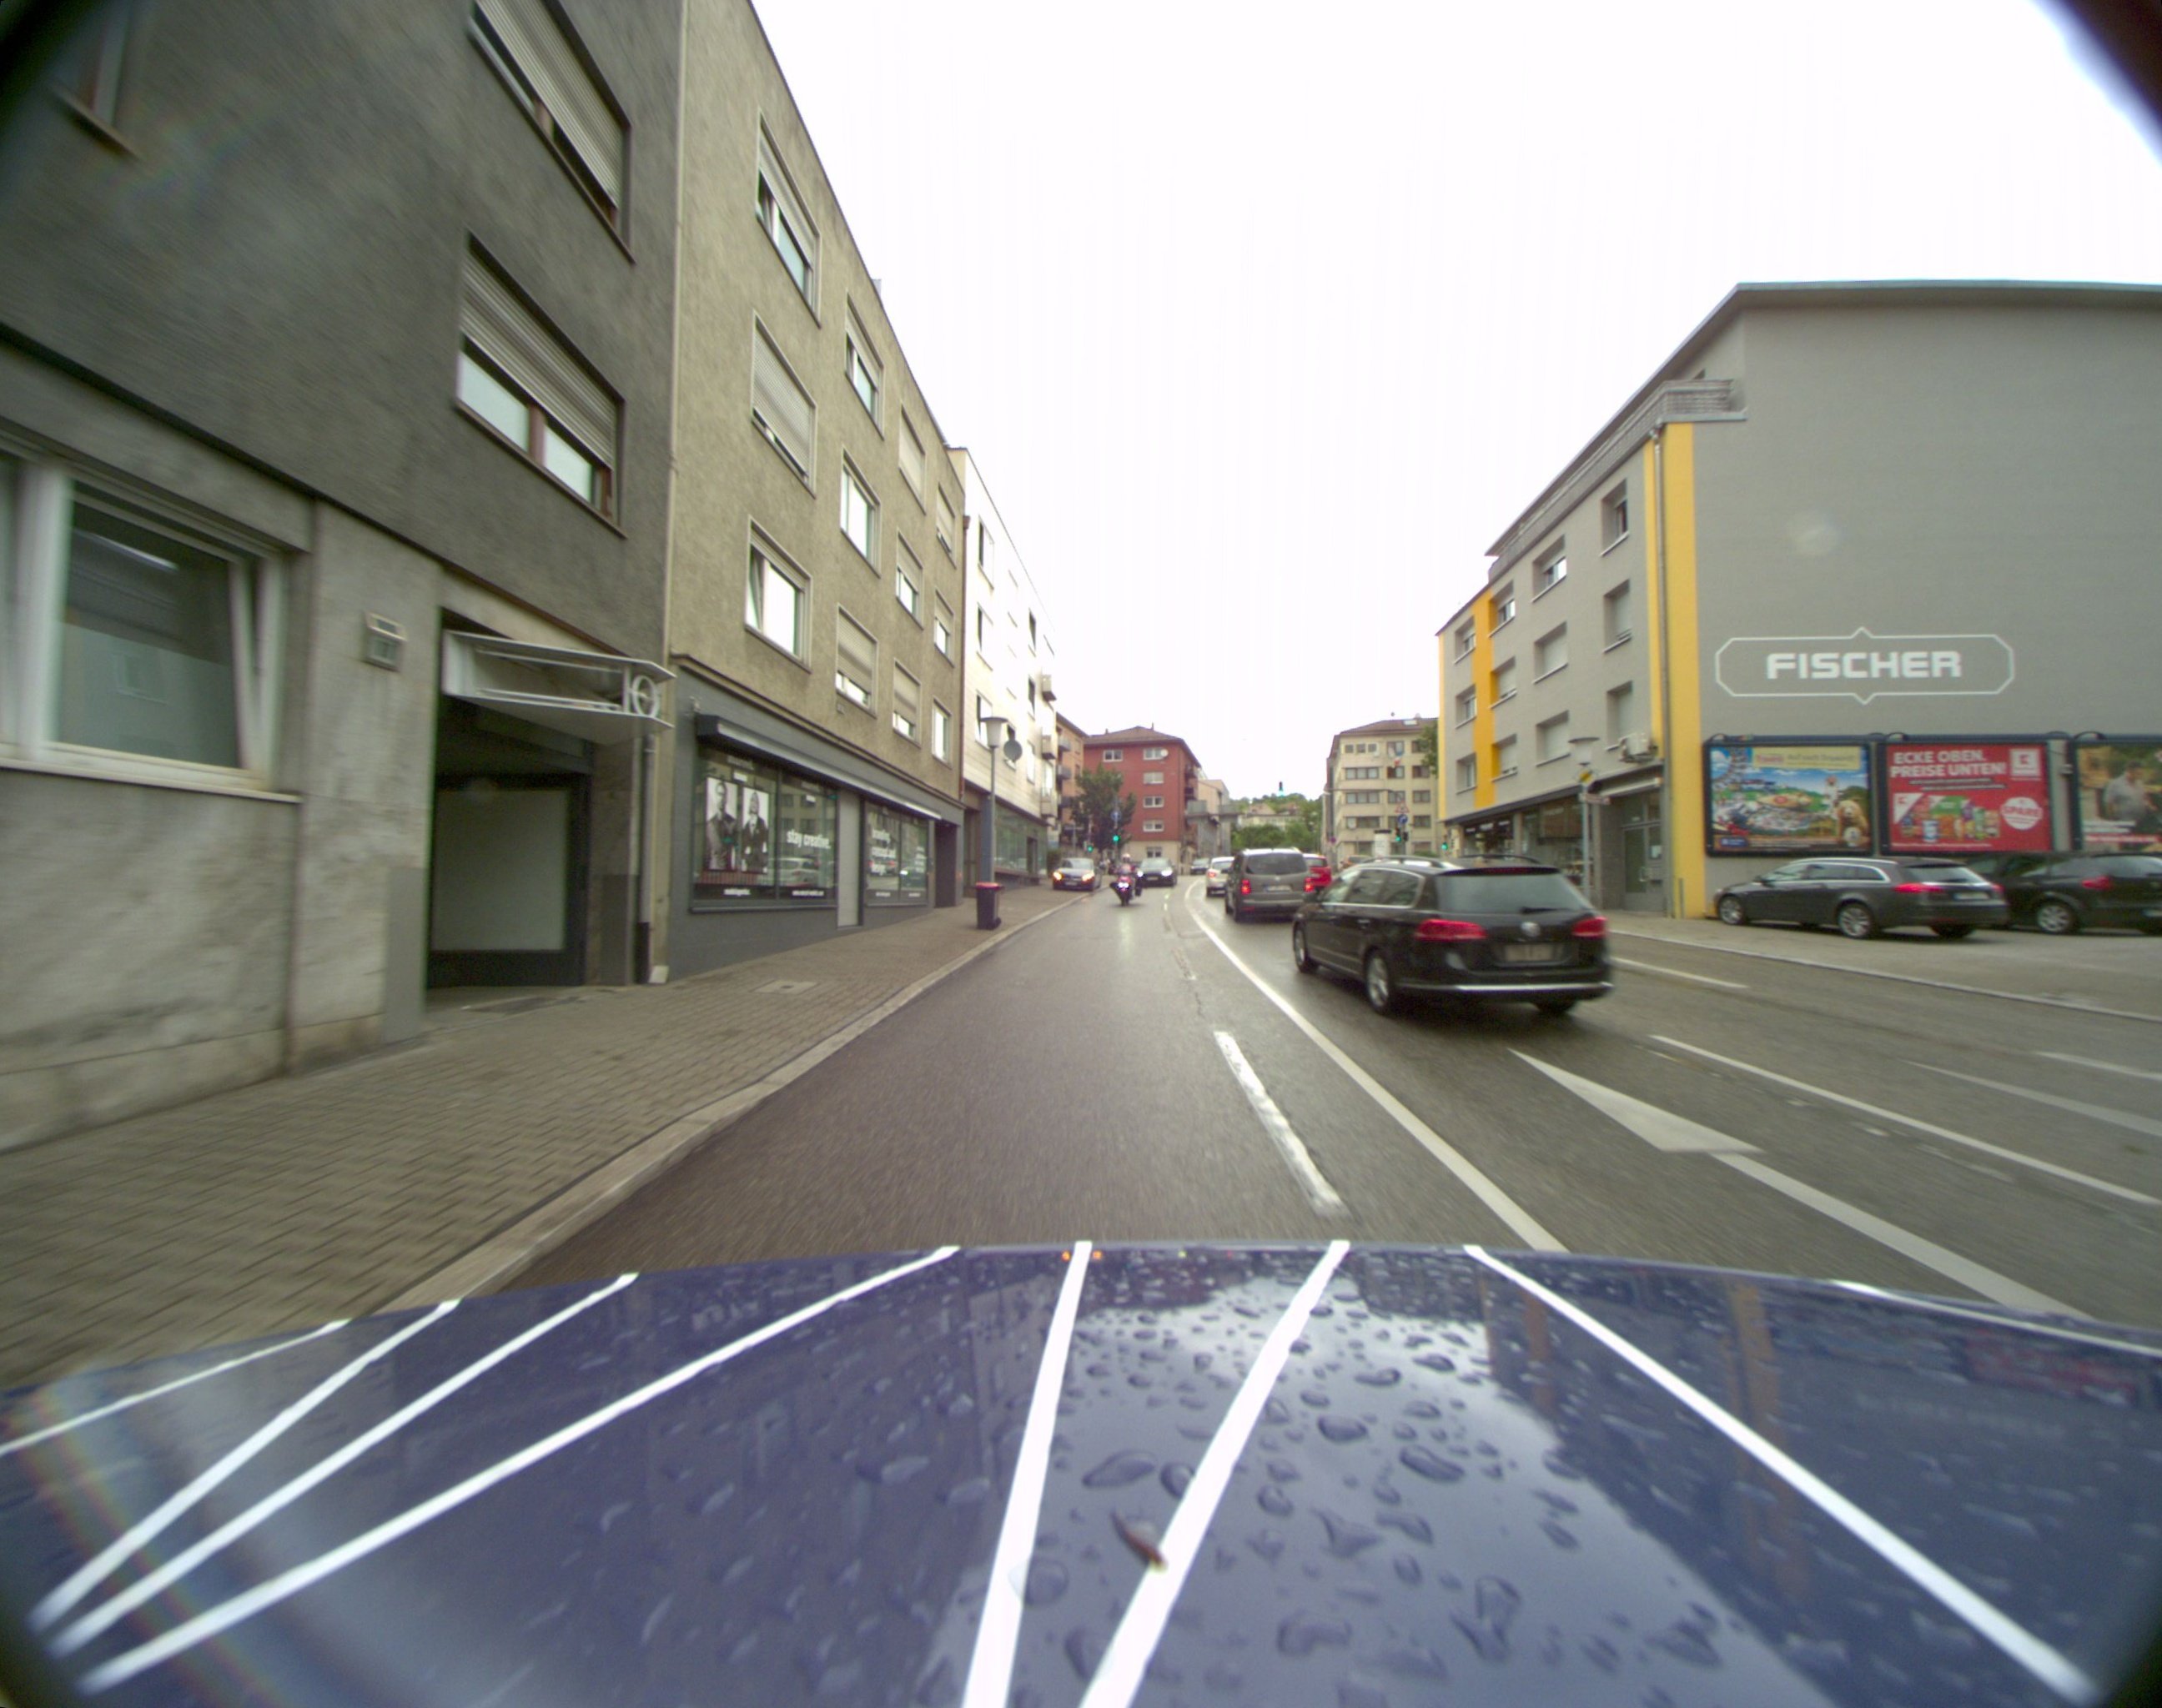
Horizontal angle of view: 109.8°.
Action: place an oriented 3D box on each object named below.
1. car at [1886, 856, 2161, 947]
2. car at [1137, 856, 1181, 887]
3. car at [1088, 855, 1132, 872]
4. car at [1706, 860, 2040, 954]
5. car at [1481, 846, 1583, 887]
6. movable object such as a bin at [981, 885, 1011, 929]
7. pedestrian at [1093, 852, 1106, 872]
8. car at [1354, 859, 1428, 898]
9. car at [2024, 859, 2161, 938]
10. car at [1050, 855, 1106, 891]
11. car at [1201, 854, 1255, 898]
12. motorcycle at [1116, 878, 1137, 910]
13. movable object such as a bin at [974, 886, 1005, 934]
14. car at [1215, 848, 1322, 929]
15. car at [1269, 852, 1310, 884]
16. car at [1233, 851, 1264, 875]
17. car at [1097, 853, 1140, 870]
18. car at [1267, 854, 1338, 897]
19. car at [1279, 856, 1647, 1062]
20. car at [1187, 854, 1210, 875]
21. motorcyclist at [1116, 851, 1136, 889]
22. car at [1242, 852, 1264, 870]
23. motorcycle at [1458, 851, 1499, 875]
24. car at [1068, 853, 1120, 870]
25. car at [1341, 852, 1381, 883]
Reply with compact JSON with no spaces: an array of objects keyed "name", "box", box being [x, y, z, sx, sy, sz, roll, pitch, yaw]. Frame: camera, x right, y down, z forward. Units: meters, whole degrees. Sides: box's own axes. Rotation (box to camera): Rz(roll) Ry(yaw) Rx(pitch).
[{"name":"car","box":[18.207,0.795,14.524,1.694,1.455,3.855,-1,0,4]},{"name":"car","box":[3.985,0.896,38.360,1.873,1.433,4.004,-1,-1,10]},{"name":"car","box":[2.944,0.943,76.723,3.992,1.650,1.996,-1,-2,16]},{"name":"car","box":[14.993,0.901,14.871,1.695,1.446,4.665,-2,0,1]},{"name":"car","box":[23.051,0.657,38.948,3.997,1.783,1.861,-4,-1,-1]},{"name":"movable object such as a bin","box":[-1.839,1.155,16.499,0.526,0.944,0.538,-1,-4,8]},{"name":"pedestrian","box":[1.615,0.686,65.602,0.756,1.636,0.712,0,-4,43]},{"name":"car","box":[12.007,1.010,29.652,1.664,1.378,3.805,-1,-4,7]},{"name":"car","box":[21.467,0.867,14.866,1.736,1.505,3.571,-1,-4,7]},{"name":"car","box":[-0.050,0.815,34.109,1.767,1.384,4.381,2,1,9]},{"name":"car","box":[5.578,0.796,29.280,1.701,1.471,4.292,-2,1,7]},{"name":"motorcycle","box":[1.517,1.297,25.200,0.637,0.921,2.365,-2,0,4]},{"name":"movable object such as a bin","box":[-1.911,1.179,15.944,0.526,0.974,0.538,-1,-4,8]},{"name":"car","box":[4.395,0.725,18.505,1.810,1.695,4.563,-1,1,5]},{"name":"car","box":[11.706,0.749,42.955,1.809,1.622,4.345,2,1,10]},{"name":"car","box":[11.124,0.559,50.308,1.809,1.512,4.566,0,1,15]},{"name":"car","box":[3.893,0.769,79.457,3.990,1.709,1.997,-1,-1,27]},{"name":"car","box":[8.730,0.786,30.317,1.744,1.507,4.131,2,1,3]},{"name":"car","box":[3.540,0.820,8.089,1.727,1.507,4.368,-1,1,0]},{"name":"car","box":[10.845,0.985,69.885,1.792,1.716,4.007,-2,-4,13]},{"name":"motorcyclist","box":[1.494,0.525,25.113,0.654,1.216,0.658,0,0,3]},{"name":"car","box":[15.056,0.585,66.783,1.809,1.407,4.382,0,1,11]},{"name":"motorcycle","box":[22.742,0.509,43.455,1.990,1.321,0.540,-1,-1,6]},{"name":"car","box":[1.267,0.735,74.398,4.785,1.545,1.853,1,-1,18]},{"name":"car","box":[15.749,0.724,42.612,1.656,1.601,3.936,2,1,26]}]
